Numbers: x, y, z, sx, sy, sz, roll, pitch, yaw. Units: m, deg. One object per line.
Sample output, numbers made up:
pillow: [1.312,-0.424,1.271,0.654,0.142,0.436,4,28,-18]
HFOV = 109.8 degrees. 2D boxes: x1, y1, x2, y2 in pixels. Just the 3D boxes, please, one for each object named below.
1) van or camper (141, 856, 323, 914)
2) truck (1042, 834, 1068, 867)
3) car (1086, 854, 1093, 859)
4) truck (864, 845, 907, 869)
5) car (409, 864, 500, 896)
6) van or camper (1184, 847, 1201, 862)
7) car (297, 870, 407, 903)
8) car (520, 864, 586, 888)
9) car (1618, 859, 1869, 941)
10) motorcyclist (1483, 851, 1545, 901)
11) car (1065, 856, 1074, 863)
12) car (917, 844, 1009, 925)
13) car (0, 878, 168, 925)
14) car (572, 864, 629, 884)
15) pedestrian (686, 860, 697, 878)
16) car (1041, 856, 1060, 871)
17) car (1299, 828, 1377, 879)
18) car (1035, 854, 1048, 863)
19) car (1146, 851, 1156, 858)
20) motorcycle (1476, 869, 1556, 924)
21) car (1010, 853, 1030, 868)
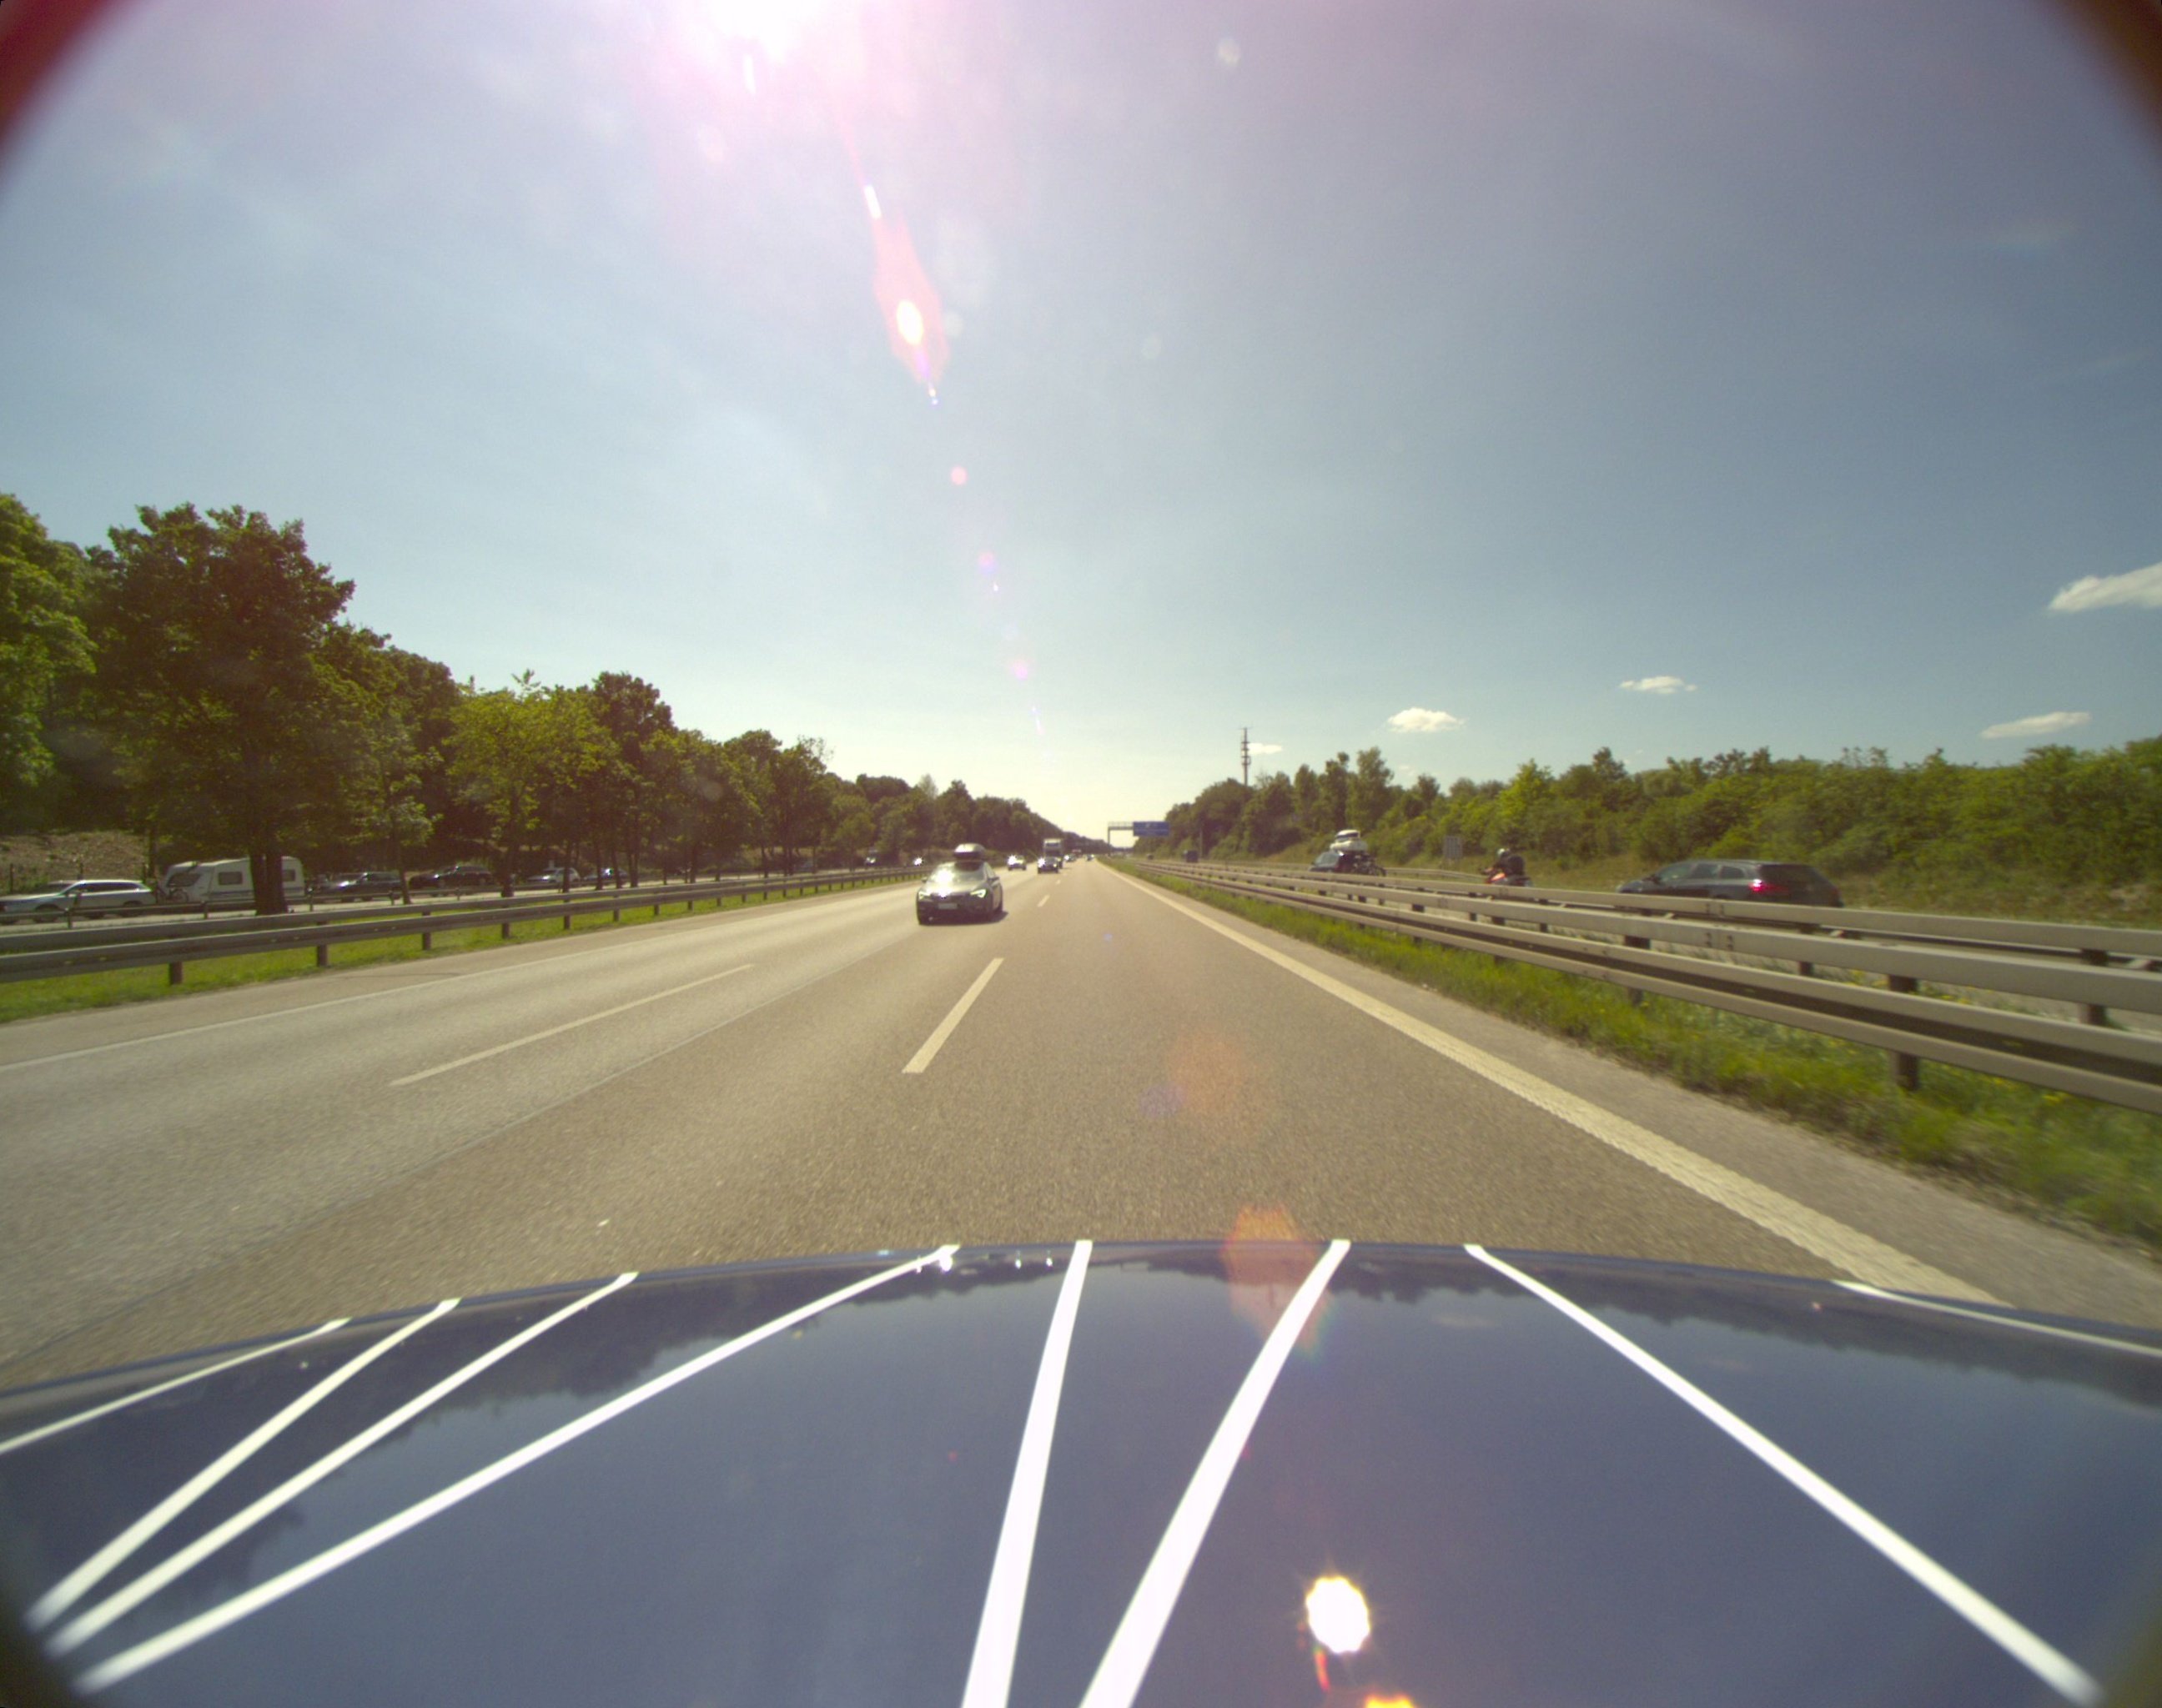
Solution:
van or camper: [-41.343,1.405,37.322,2.209,2.516,5.875,-1,0,1]
truck: [-3.029,-0.399,90.085,2.676,3.660,6.484,0,0,1]
car: [1.956,0.574,176.009,1.591,1.291,3.383,0,0,2]
truck: [-32.867,0.536,128.323,3.290,3.924,9.359,0,0,12]
car: [-40.784,1.648,49.629,1.659,1.866,4.801,-1,0,5]
van or camper: [18.370,0.115,125.257,1.998,2.378,6.241,1,0,0]
car: [-41.327,1.823,43.236,1.659,1.632,4.498,-1,0,5]
car: [-41.357,1.715,59.651,1.659,1.666,4.653,-1,0,5]
car: [13.914,0.871,16.364,1.747,1.450,4.232,-1,0,1]
motorcyclist: [9.509,0.469,16.722,0.877,1.070,0.811,1,1,0]
car: [-2.558,1.192,165.347,1.831,1.346,3.680,0,0,2]
car: [-2.958,0.710,19.958,1.669,1.865,4.827,0,0,0]
car: [-41.311,1.891,31.301,1.659,1.588,4.556,-1,0,5]
car: [-41.401,1.724,65.567,1.997,1.565,4.003,-1,0,9]
pedestrian: [-39.868,1.536,77.839,0.641,1.772,0.802,0,1,40]
car: [-2.642,0.804,66.148,1.537,1.265,2.770,-1,0,1]
car: [11.303,-0.025,33.754,1.998,2.097,4.302,0,0,0]
car: [-7.559,0.816,144.611,1.924,1.659,4.687,-2,0,3]
car: [18.948,0.209,206.167,1.999,1.824,5.332,2,0,-1]
motorcycle: [9.461,0.902,16.617,0.666,1.070,1.881,1,1,1]
car: [-6.813,0.695,85.227,1.848,1.559,4.036,-2,0,2]
